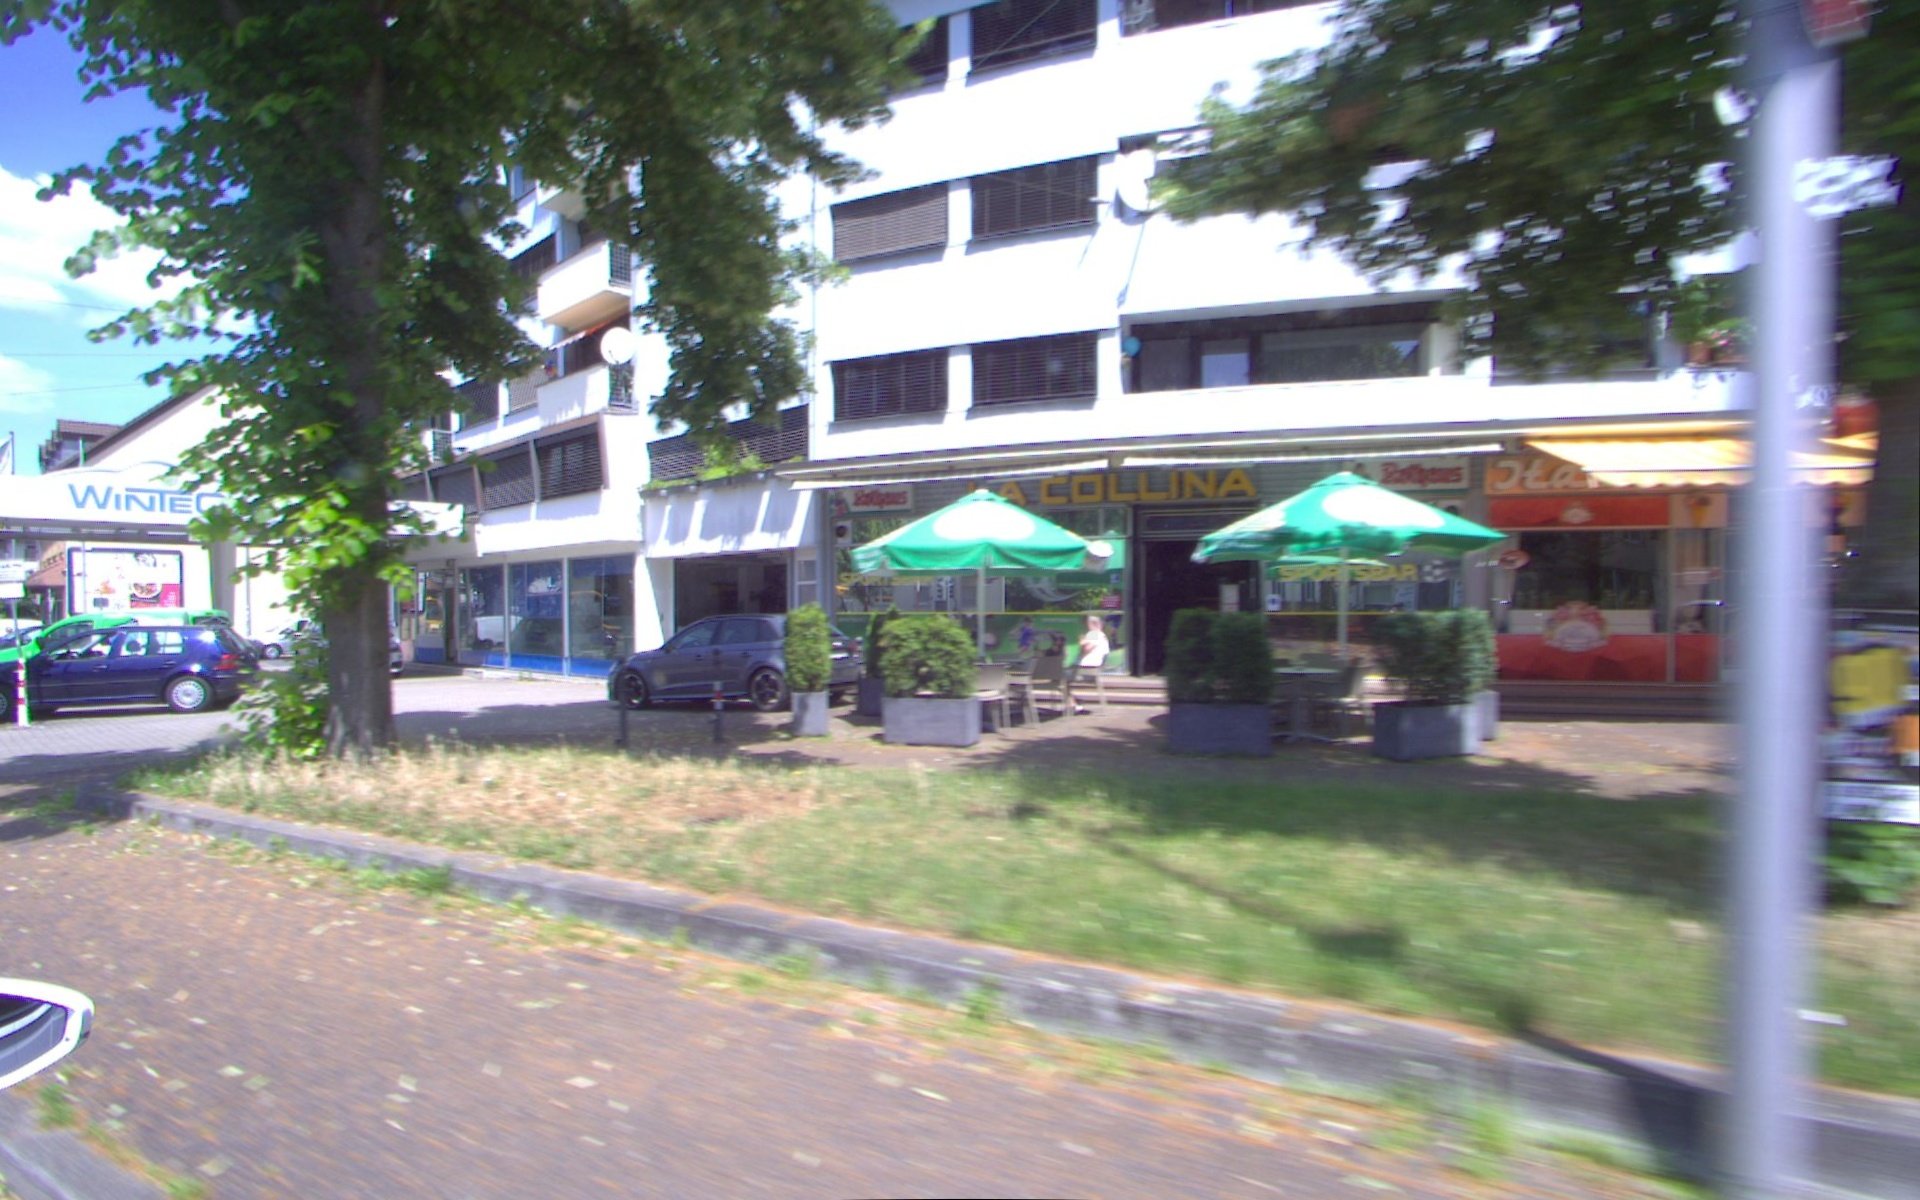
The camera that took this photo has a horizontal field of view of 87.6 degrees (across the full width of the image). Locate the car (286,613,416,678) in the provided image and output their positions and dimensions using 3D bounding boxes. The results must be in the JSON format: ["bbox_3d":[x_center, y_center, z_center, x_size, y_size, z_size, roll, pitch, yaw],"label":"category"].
[{"bbox_3d":[-16.538,1.186,27.124,4.243,1.616,1.997,-1,-1,44],"label":"car"}]

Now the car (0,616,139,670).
[{"bbox_3d":[-28.153,1.297,30.969,1.797,1.538,3.921,-1,-1,32],"label":"car"}]

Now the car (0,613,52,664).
[{"bbox_3d":[-36.364,1.407,36.745,1.976,1.833,4.286,2,0,40],"label":"car"}]

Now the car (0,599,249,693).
[{"bbox_3d":[-17.448,0.921,20.799,3.947,1.818,1.842,-1,0,-4],"label":"car"}]

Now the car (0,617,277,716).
[{"bbox_3d":[-13.952,1.044,16.508,4.104,1.458,1.896,-1,0,-23],"label":"car"}]

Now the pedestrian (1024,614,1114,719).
[{"bbox_3d":[1.449,0.848,13.205,0.999,1.322,0.814,0,-1,22],"label":"pedestrian"}]

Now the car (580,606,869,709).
[{"bbox_3d":[-3.713,0.869,15.681,4.293,1.447,1.702,-2,-1,26],"label":"car"}]

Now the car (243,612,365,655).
[{"bbox_3d":[-29.992,1.521,45.847,1.976,1.833,4.285,2,0,40],"label":"car"}]

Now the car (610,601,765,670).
[{"bbox_3d":[-7.039,0.874,25.659,1.981,1.605,4.338,0,-1,-45],"label":"car"}]
